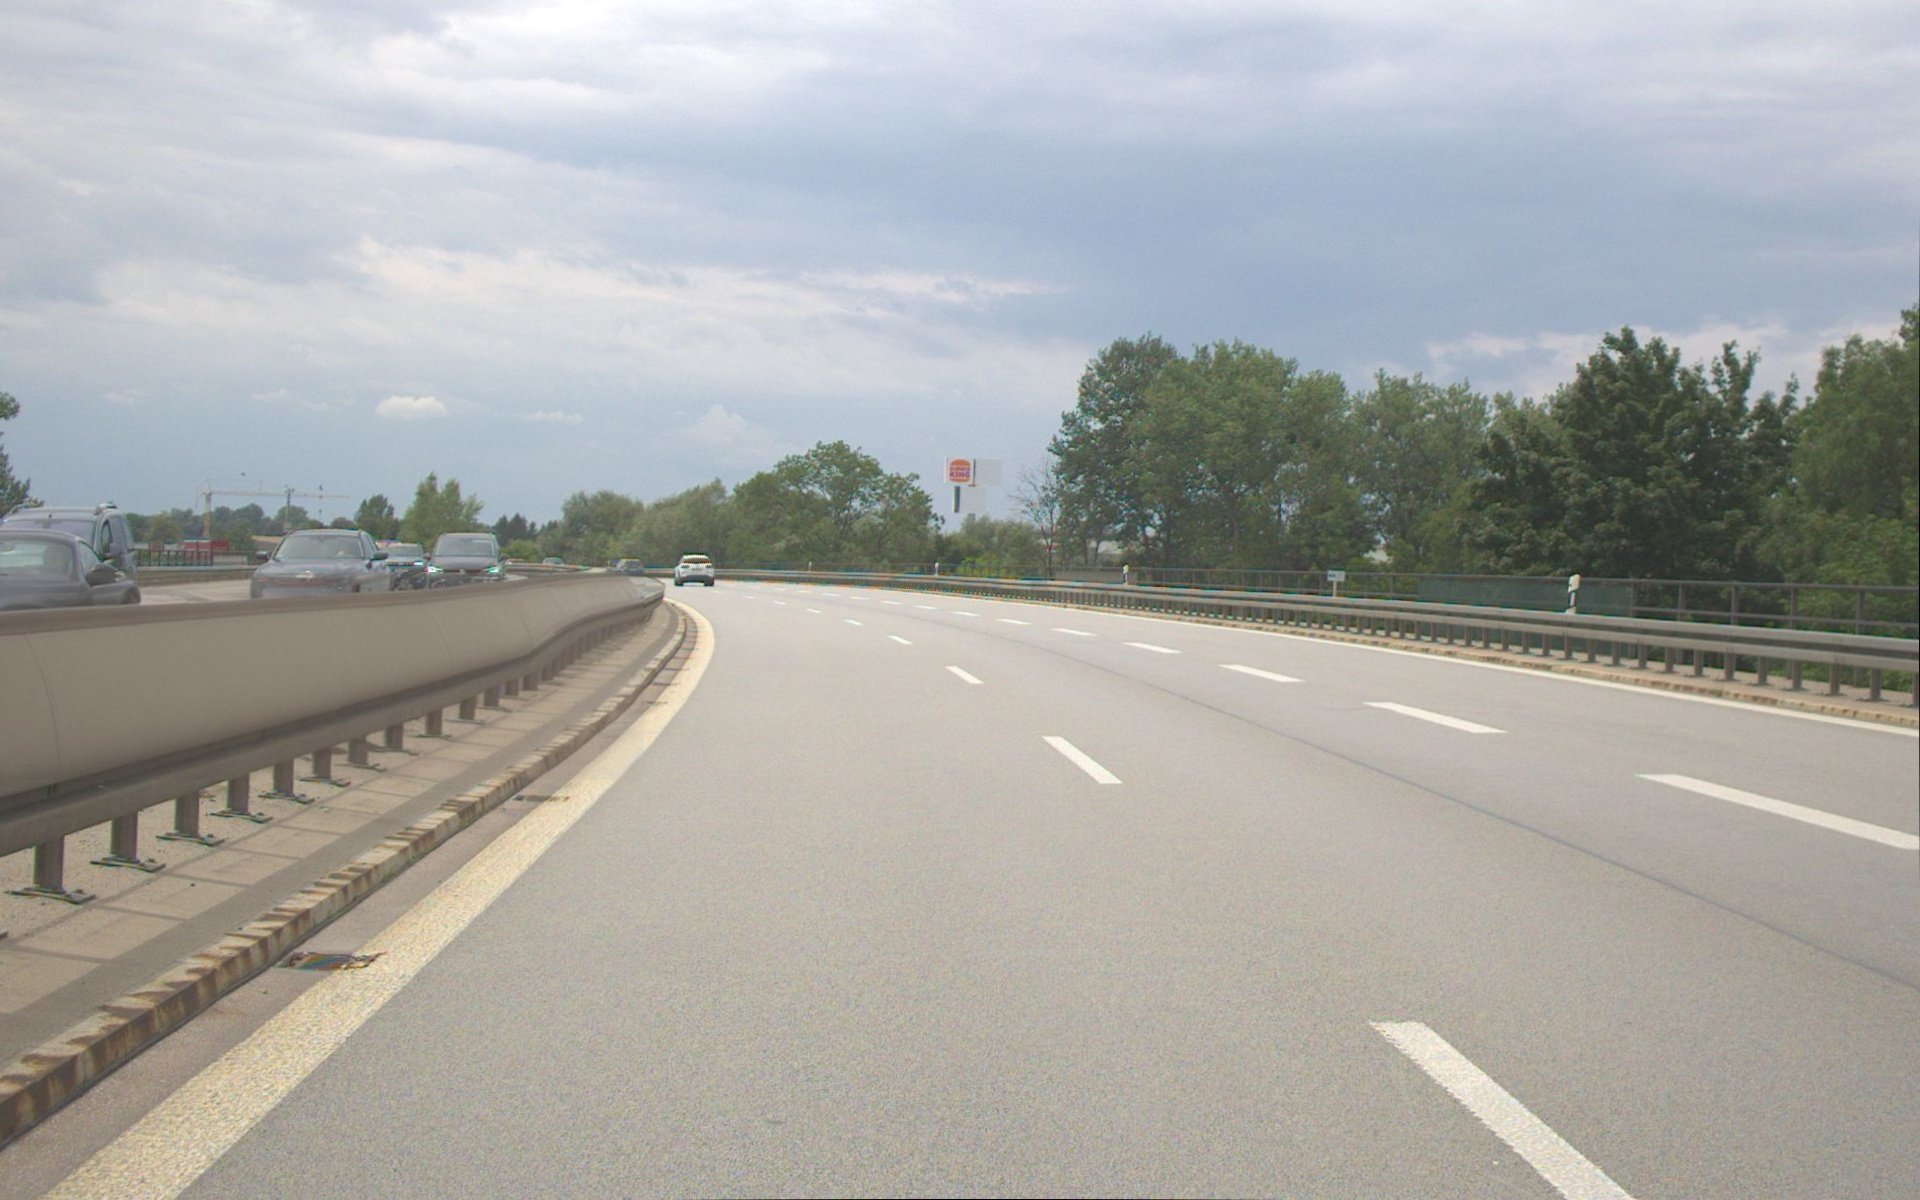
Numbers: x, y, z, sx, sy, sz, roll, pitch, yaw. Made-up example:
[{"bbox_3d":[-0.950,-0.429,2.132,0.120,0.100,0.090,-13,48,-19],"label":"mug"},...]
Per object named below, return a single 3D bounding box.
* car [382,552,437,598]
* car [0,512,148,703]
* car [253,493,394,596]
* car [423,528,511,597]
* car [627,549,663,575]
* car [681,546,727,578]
[{"bbox_3d":[-20.326,-0.935,127.074,1.709,1.635,4.569,2,0,-6],"label":"car"},{"bbox_3d":[-8.347,0.015,29.916,1.644,1.544,4.000,1,1,-1],"label":"car"},{"bbox_3d":[-9.926,-0.859,53.824,1.644,1.544,4.000,0,1,-3],"label":"car"},{"bbox_3d":[-11.881,-0.909,82.997,1.644,1.600,4.000,1,1,-2],"label":"car"},{"bbox_3d":[-20.729,-2.482,226.256,1.892,1.634,4.623,2,0,-11],"label":"car"},{"bbox_3d":[-13.670,-2.038,183.418,1.902,1.634,4.397,1,0,-11],"label":"car"}]
